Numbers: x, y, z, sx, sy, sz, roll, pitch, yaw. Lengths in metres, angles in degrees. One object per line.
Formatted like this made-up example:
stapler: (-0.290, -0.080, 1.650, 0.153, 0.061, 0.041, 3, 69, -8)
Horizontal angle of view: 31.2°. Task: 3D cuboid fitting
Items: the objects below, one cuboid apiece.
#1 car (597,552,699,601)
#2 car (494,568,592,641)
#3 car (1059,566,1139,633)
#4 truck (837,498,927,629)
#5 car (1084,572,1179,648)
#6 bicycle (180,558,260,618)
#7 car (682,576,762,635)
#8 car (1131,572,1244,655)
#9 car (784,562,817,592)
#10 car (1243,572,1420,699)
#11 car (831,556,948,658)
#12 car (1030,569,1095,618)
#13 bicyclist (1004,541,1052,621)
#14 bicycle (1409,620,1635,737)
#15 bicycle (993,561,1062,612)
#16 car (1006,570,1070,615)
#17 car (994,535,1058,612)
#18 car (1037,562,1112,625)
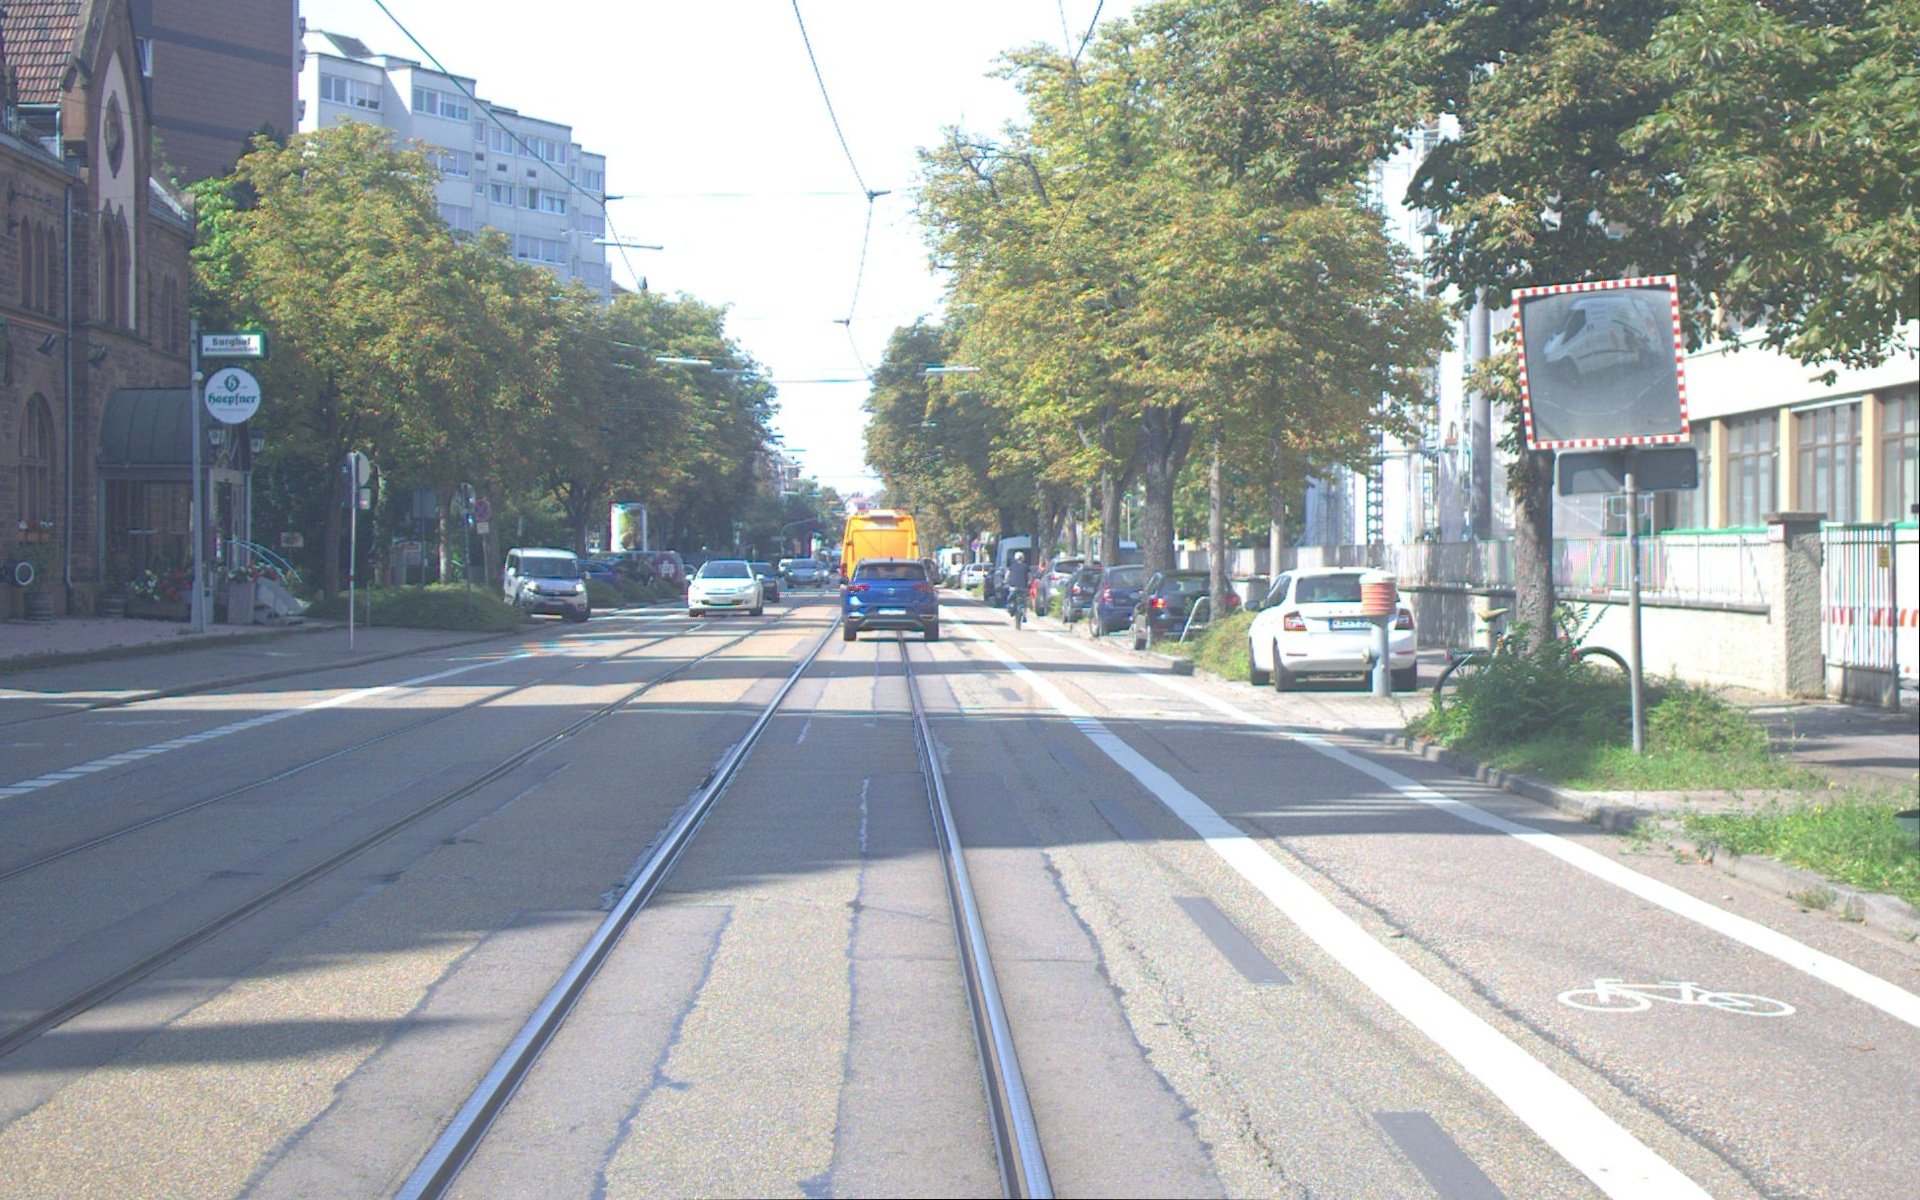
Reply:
car: (-13.123, -0.994, 144.785, 3.989, 2.007, 1.856, 1, 1, -44)
car: (-10.788, 0.096, 88.753, 1.746, 1.790, 4.001, 1, 1, -18)
car: (3.429, -0.036, 85.152, 1.633, 1.579, 4.189, 1, 1, -2)
truck: (-1.911, -0.908, 84.751, 2.135, 3.114, 6.085, 0, 1, -1)
car: (3.562, 0.194, 72.054, 1.743, 1.550, 4.217, 0, 0, -1)
bicycle: (-14.655, -0.243, 68.114, 1.451, 1.089, 0.399, 4, 0, -5)
car: (-6.355, 0.120, 92.286, 1.847, 1.486, 4.867, -1, 1, 0)
car: (3.976, 0.214, 60.507, 1.659, 1.403, 4.217, 0, 0, -1)
car: (-9.029, -1.319, 195.066, 1.780, 1.678, 4.348, 1, 1, -2)
car: (4.499, 0.398, 42.130, 1.659, 1.476, 4.217, 0, 0, -1)
car: (-1.339, 0.102, 65.670, 2.135, 1.852, 5.568, 0, 1, -1)
car: (3.127, -0.216, 105.626, 1.740, 1.457, 3.684, 1, 1, -2)
bicyclist: (1.550, -0.442, 78.335, 1.031, 1.806, 1.016, 1, 1, -1)
bicycle: (4.793, 0.664, 29.374, 1.812, 0.955, 0.558, 1, 1, -1)
bicycle: (1.511, -0.324, 78.344, 1.401, 1.130, 4.000, 1, 1, -1)
car: (2.606, -0.265, 115.761, 1.908, 1.427, 4.293, 1, 1, -2)
car: (2.397, -0.985, 126.347, 1.993, 2.746, 5.762, 1, 1, -2)
car: (3.146, -0.198, 95.243, 1.740, 1.662, 4.362, 1, 1, -2)
